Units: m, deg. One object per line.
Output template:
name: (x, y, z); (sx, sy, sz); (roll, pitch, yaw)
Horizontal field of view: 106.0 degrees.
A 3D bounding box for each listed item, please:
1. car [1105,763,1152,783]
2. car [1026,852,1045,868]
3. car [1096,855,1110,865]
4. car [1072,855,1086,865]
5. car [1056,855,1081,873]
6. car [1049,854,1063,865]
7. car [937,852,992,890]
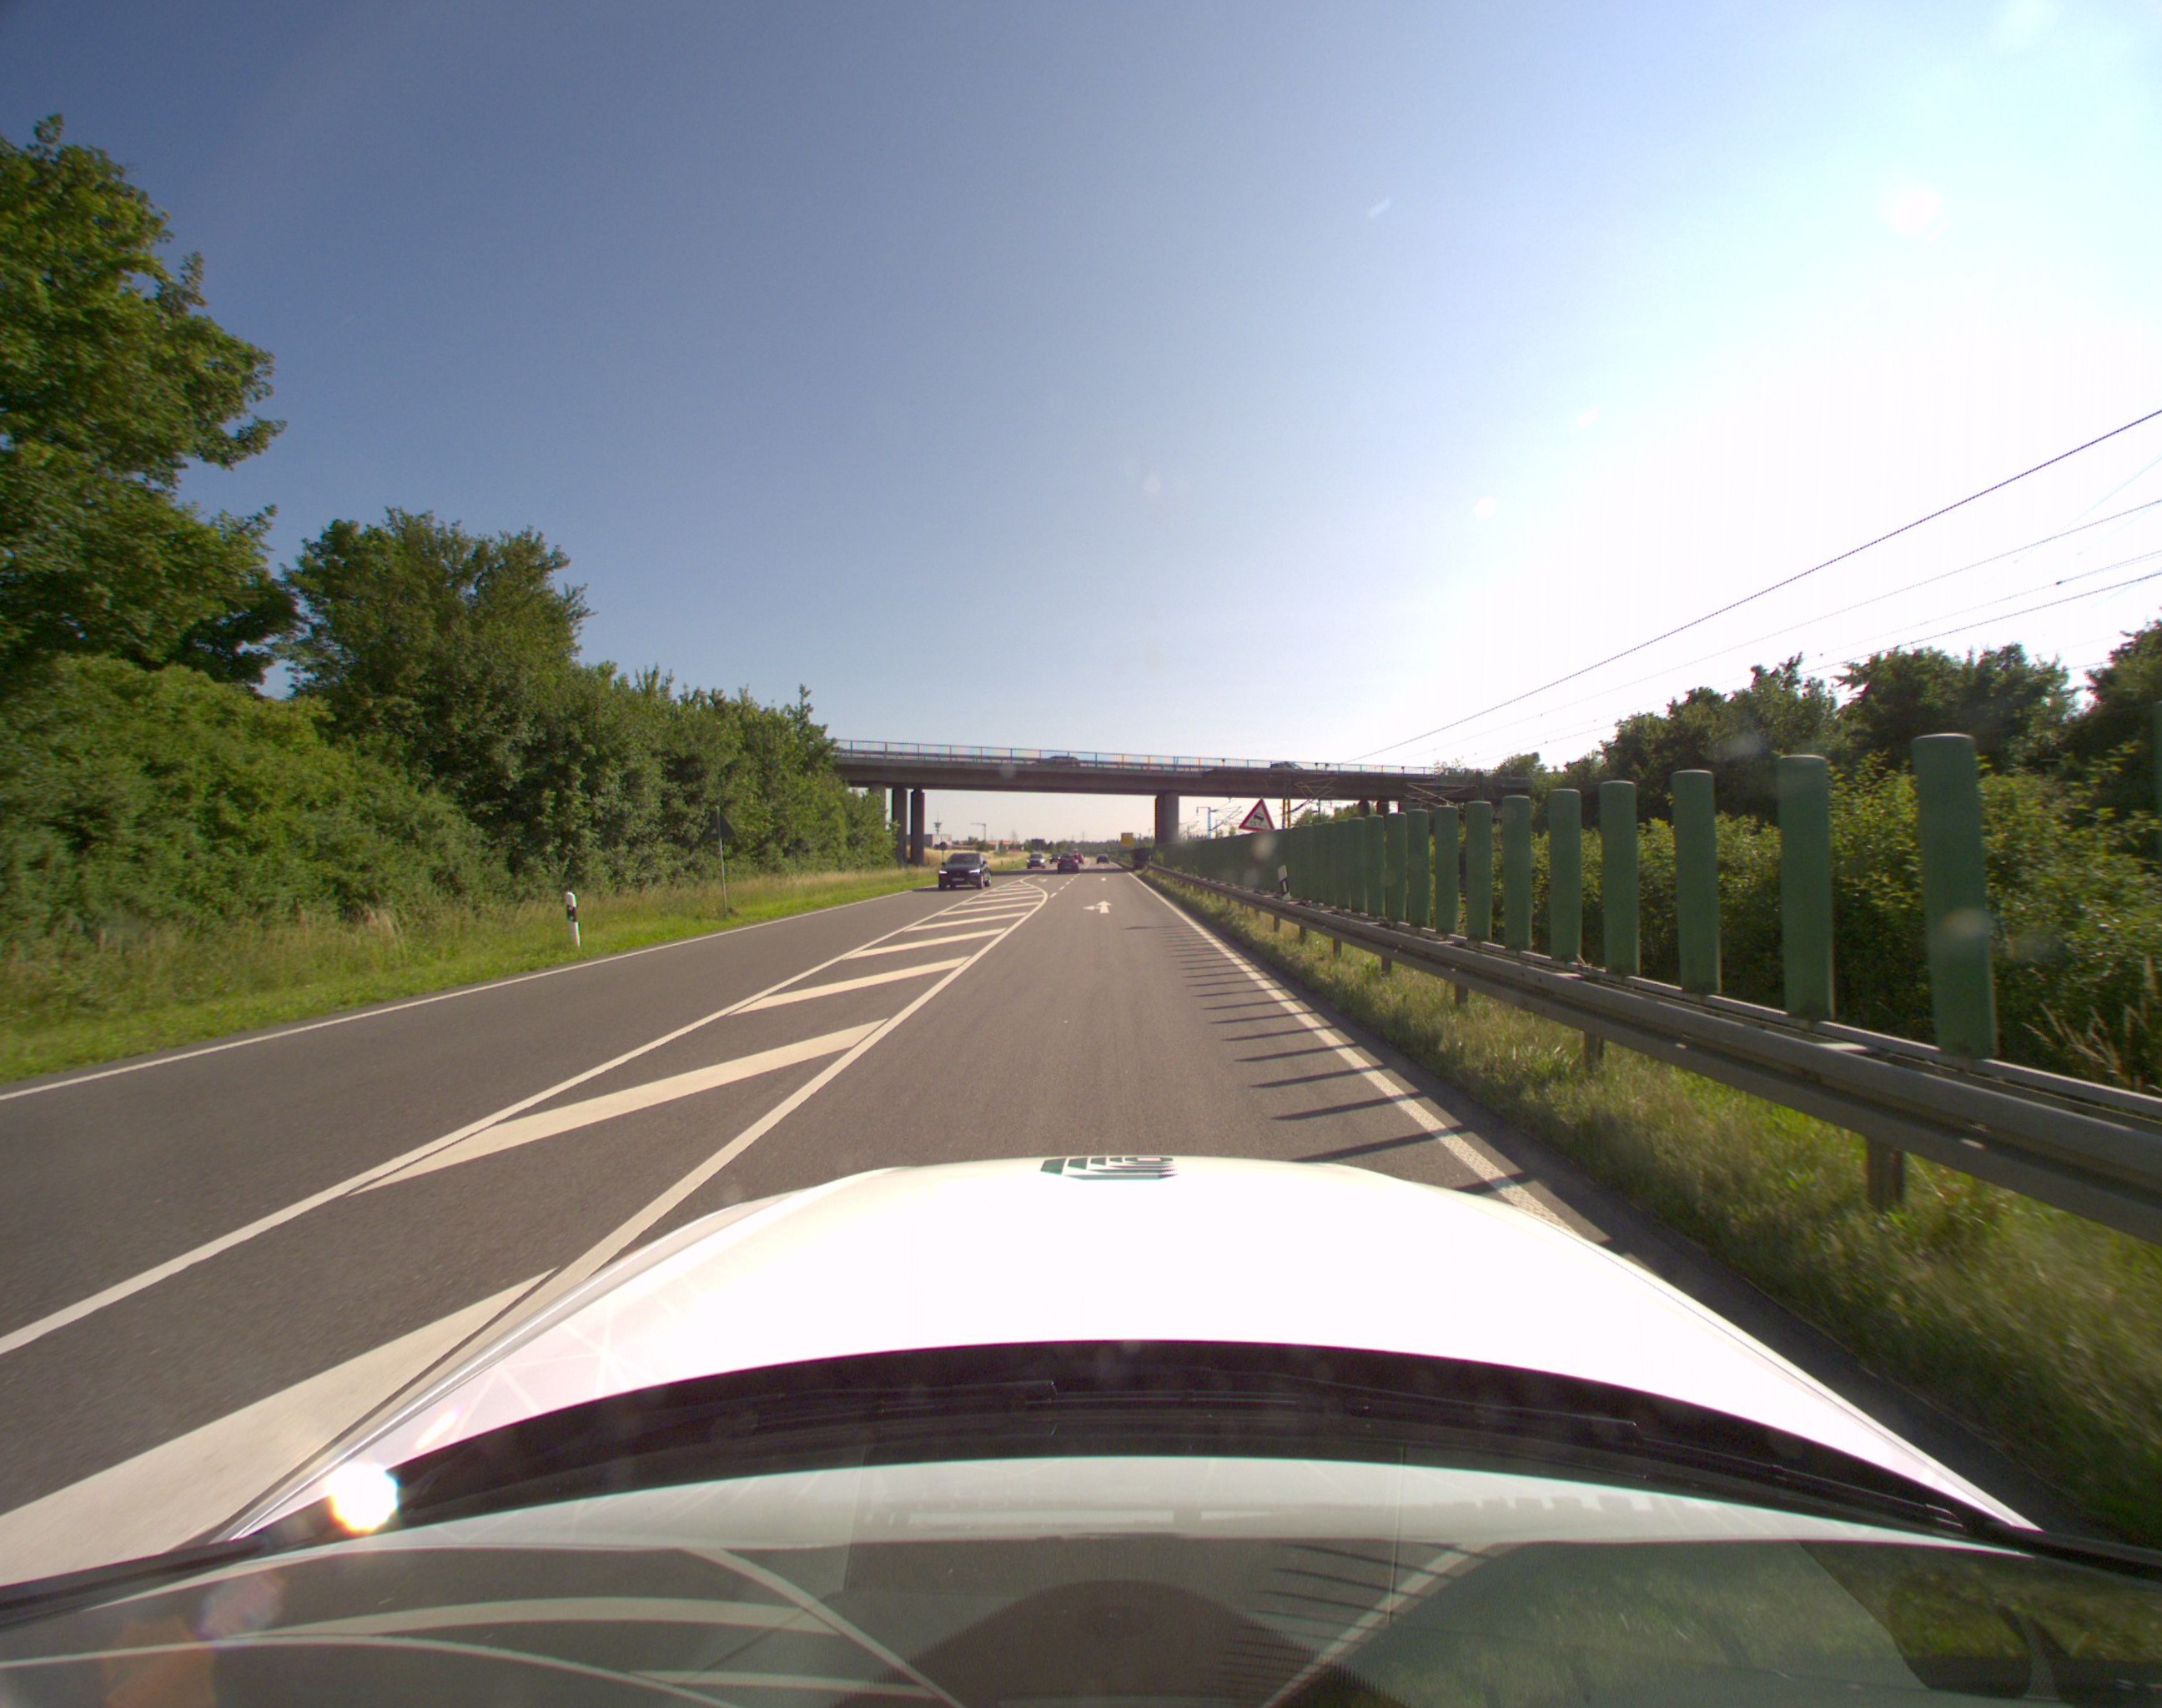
car: (4.428, -7.561, 76.268); (4.001, 1.643, 1.902); (-1, 0, -21)
car: (-4.868, 0.670, 87.745); (1.839, 1.630, 3.999); (-1, 0, 0)
car: (3.230, 0.813, 118.639); (1.888, 1.418, 4.001); (-1, 0, 2)
car: (-0.249, 0.853, 117.206); (1.888, 1.418, 4.001); (-1, 0, 2)
car: (-0.918, 0.761, 62.247); (1.657, 1.261, 4.001); (-1, 0, 2)
car: (-3.901, 0.830, 127.720); (1.888, 1.630, 4.001); (-1, 0, 2)
car: (-5.199, 0.718, 36.915); (1.916, 1.593, 4.428); (-1, 0, -1)
